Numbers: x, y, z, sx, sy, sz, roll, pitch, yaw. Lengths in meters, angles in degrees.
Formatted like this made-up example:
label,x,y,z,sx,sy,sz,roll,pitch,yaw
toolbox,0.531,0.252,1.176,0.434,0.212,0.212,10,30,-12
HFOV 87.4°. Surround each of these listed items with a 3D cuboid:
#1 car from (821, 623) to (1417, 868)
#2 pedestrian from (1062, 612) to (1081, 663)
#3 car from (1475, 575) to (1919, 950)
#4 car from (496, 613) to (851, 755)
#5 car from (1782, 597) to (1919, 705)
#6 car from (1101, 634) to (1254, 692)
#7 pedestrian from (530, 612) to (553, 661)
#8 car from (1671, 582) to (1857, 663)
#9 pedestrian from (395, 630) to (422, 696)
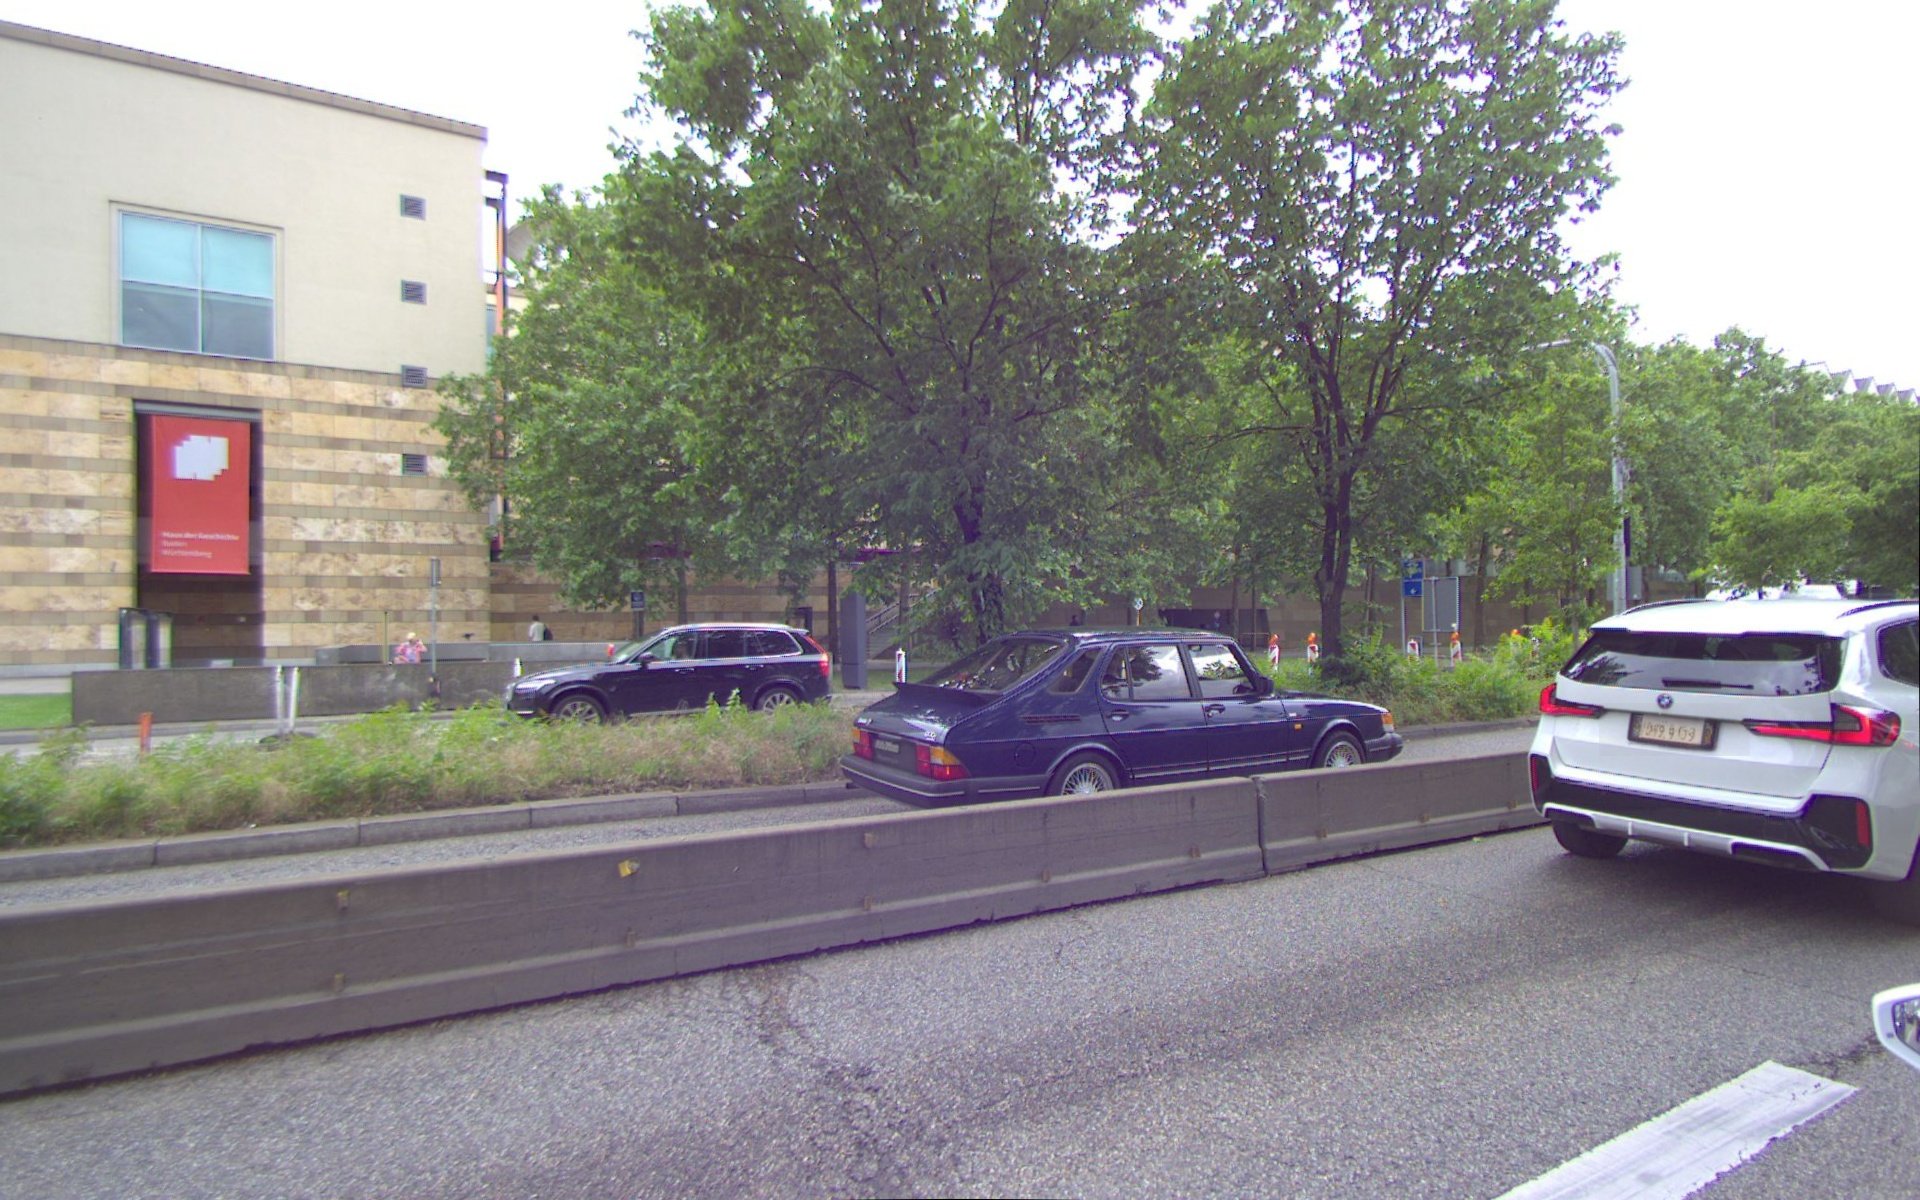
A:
label,x,y,z,sx,sy,sz,roll,pitch,yaw
car,1.340,0.882,7.670,4.490,1.385,1.670,0,-1,-31
pedestrian,4.554,1.531,40.993,0.657,2.040,0.449,0,-1,-30
car,5.634,0.762,6.467,4.850,1.649,1.842,1,-1,-31
car,-4.462,1.175,15.807,5.047,1.900,2.184,0,-1,-29
car,14.248,0.728,15.157,3.915,1.455,1.653,1,-1,-31
car,6.428,1.788,29.522,4.469,1.547,1.638,0,-1,-30
pedestrian,-13.677,1.182,32.818,0.616,1.590,0.434,0,-1,-38
car,21.887,0.598,27.294,5.512,1.995,2.106,0,-1,-30
pedestrian,-13.213,1.502,24.074,0.555,1.552,0.523,0,-1,-28
